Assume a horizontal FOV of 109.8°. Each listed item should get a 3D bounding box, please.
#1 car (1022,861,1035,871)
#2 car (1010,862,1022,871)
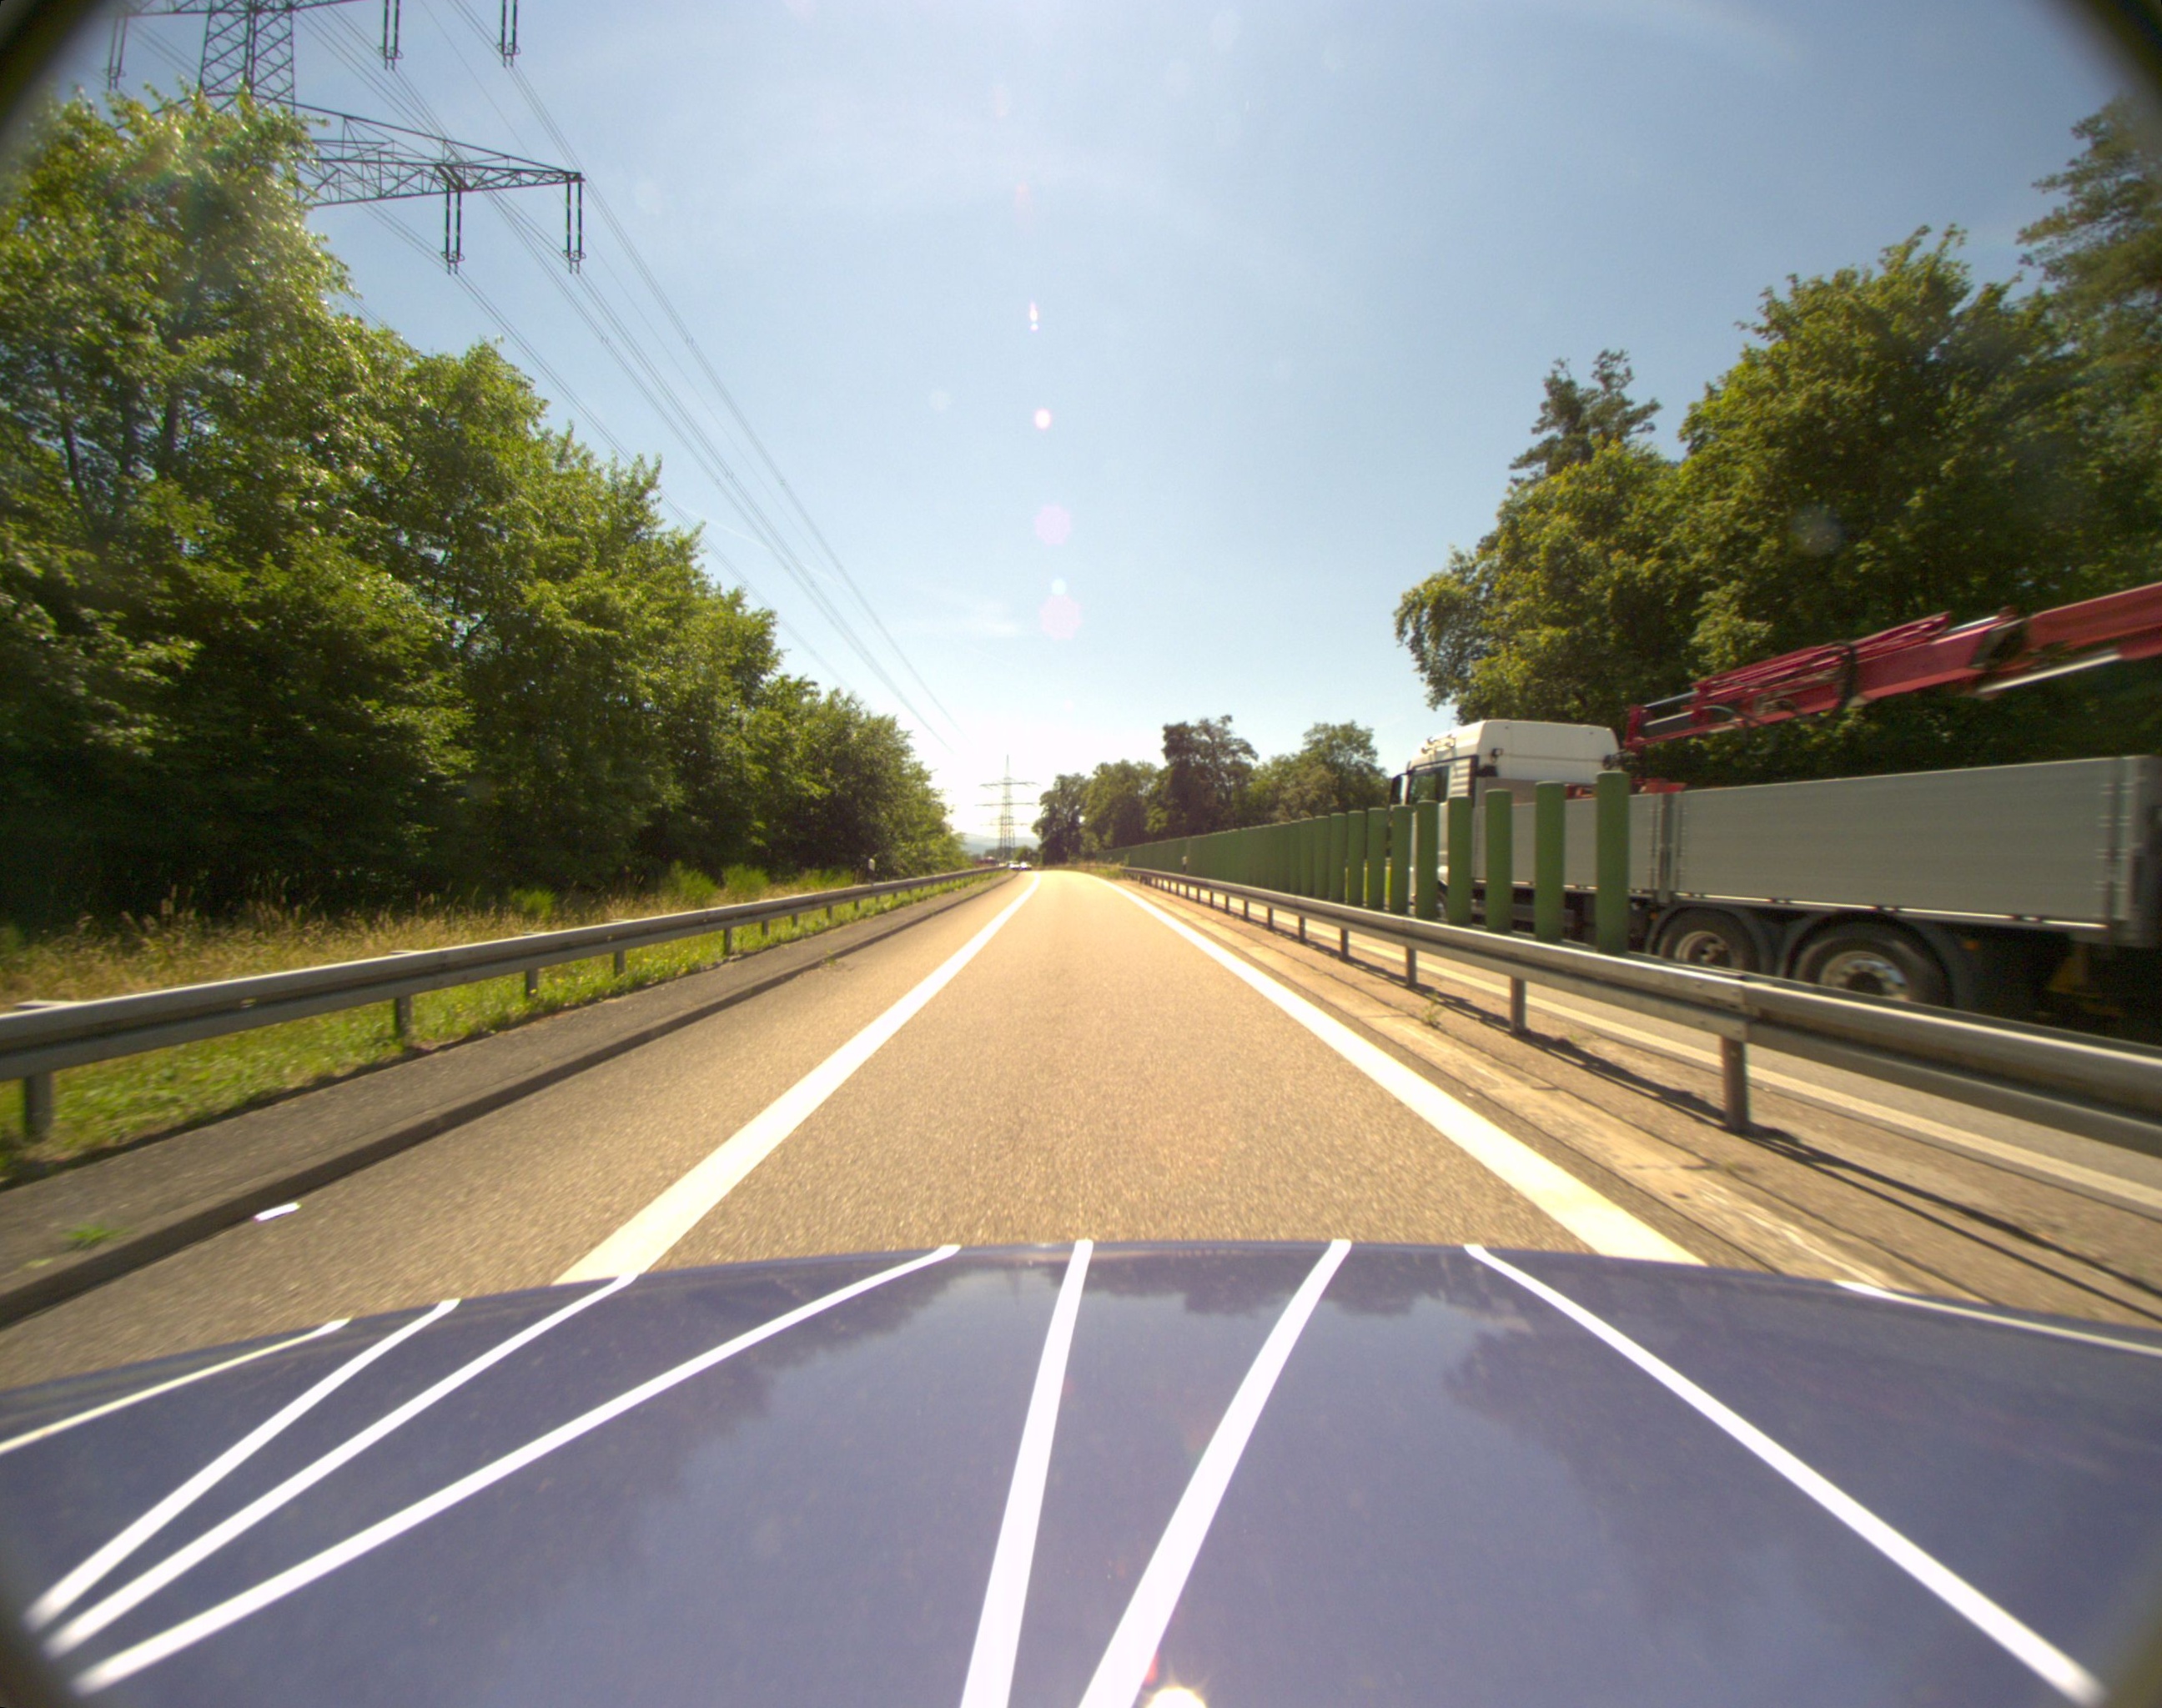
[{"bbox_3d":[-9.101,2.079,132.000,2.000,1.674,3.997,-1,-1,-8],"label":"car"},{"bbox_3d":[-12.564,2.513,147.233,2.000,1.674,3.997,-1,-1,-8],"label":"car"}]
